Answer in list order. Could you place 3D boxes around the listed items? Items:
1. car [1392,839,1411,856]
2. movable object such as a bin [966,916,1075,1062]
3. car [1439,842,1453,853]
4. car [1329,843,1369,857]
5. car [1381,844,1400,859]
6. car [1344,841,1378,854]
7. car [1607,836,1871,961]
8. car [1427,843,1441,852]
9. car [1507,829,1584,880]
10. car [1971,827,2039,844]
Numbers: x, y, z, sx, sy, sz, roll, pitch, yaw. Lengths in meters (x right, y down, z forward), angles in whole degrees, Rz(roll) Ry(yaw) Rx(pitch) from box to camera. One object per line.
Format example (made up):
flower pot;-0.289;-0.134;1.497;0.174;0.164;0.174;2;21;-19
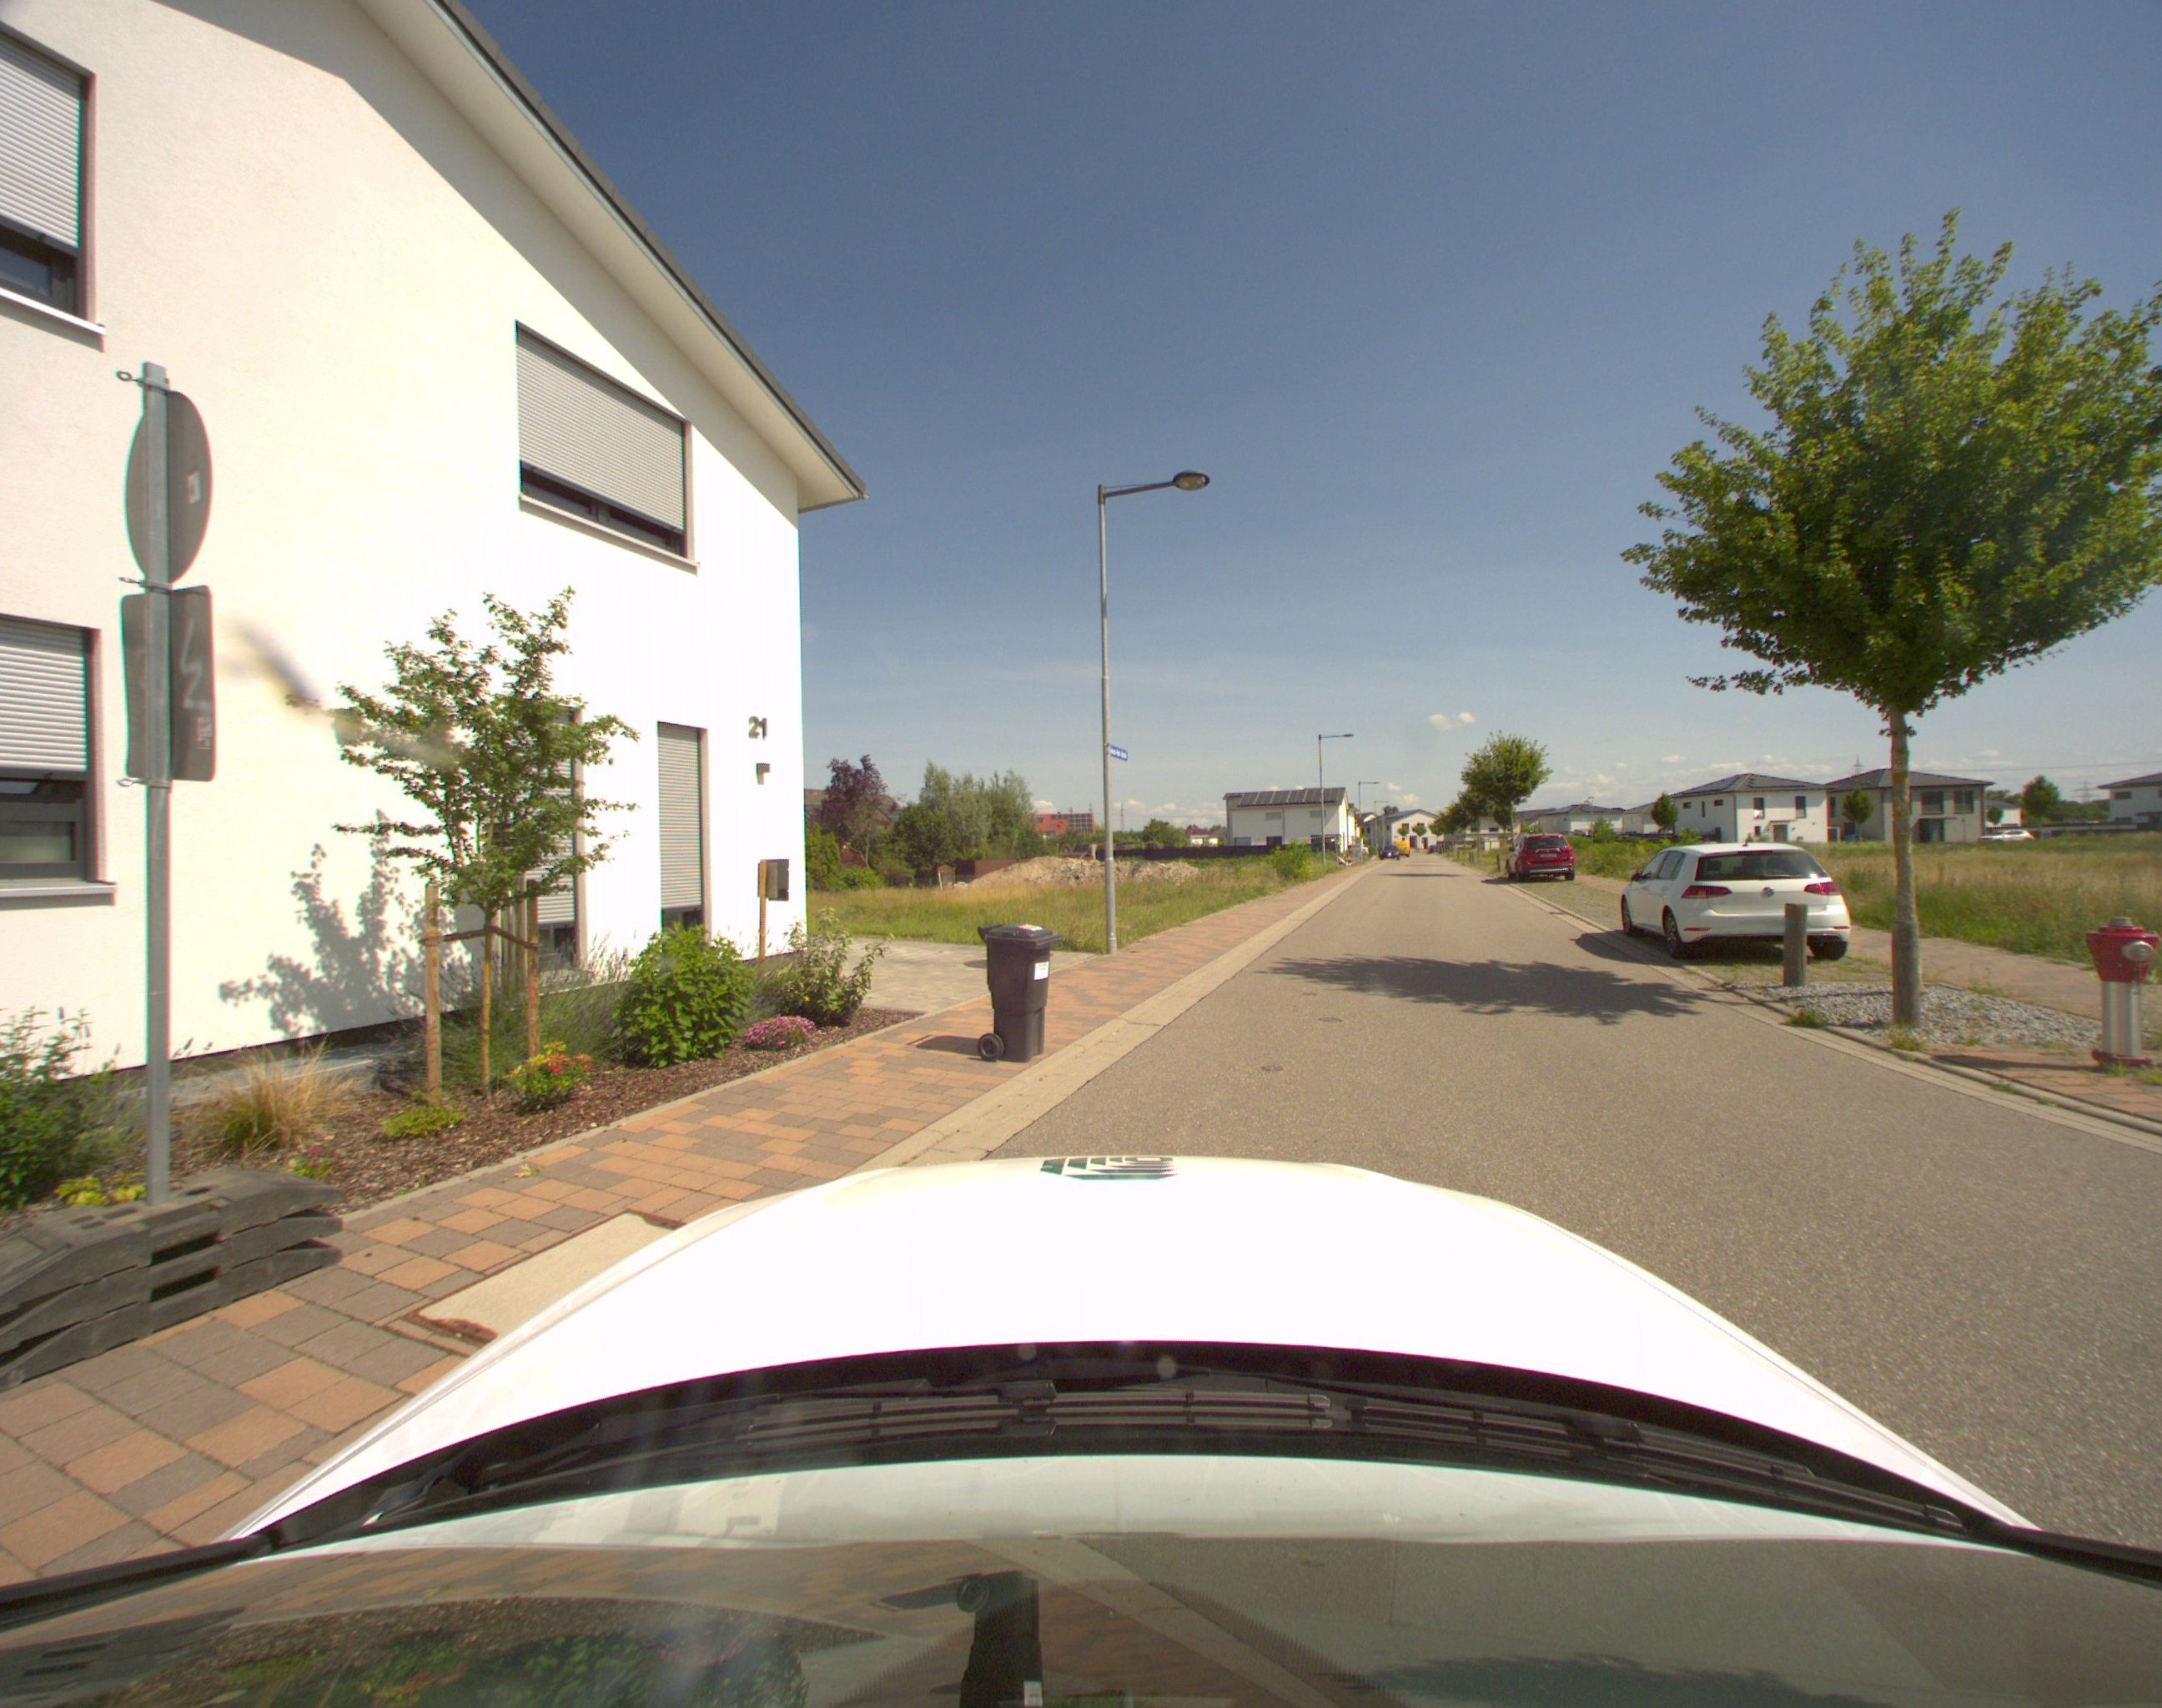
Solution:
car;38.867;-0.784;98.903;1.926;1.981;4.237;-1;-1;19
movable object such as a bin;-0.427;0.940;5.855;0.618;0.948;0.502;-1;-1;17
car;51.737;-0.932;115.445;1.625;1.403;3.830;-1;-1;21
car;30.219;-0.492;91.965;4.030;1.581;1.795;0;2;28
car;30.630;-0.302;80.552;1.730;1.405;4.182;1;1;22
car;38.083;-0.857;110.882;4.139;1.504;1.819;3;1;6
car;8.993;0.516;11.582;1.759;1.420;4.189;-3;0;23
car;57.752;-0.986;133.205;1.615;1.322;3.849;-1;-2;16
car;16.779;-0.014;29.602;1.761;1.663;4.458;-3;0;22
car;85.340;-1.724;75.276;3.964;1.398;1.755;-1;-1;8
